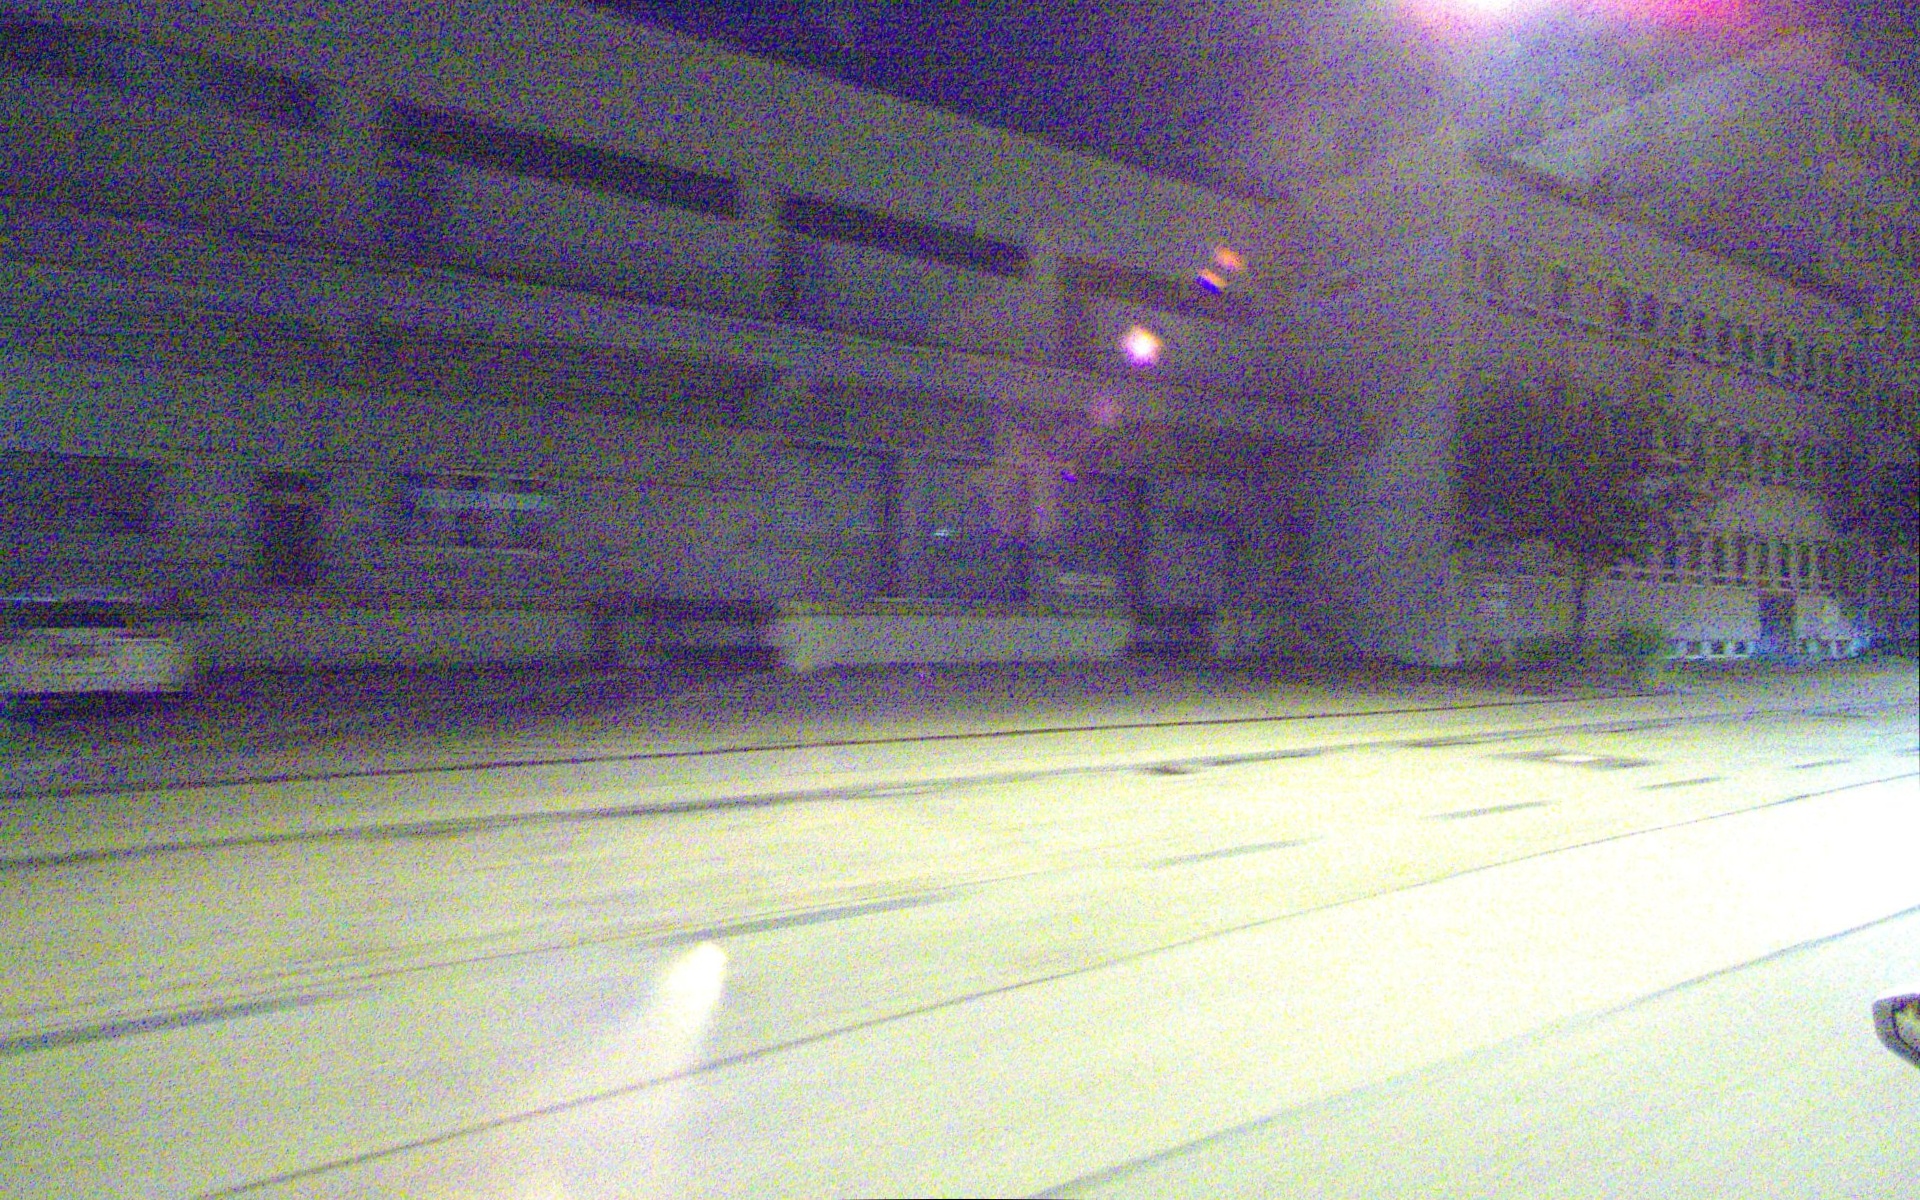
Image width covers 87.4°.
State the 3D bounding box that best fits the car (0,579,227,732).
[{"bbox_3d":[-10.704,0.571,12.843,1.785,1.483,3.966,0,3,-31],"label":"car"}]
